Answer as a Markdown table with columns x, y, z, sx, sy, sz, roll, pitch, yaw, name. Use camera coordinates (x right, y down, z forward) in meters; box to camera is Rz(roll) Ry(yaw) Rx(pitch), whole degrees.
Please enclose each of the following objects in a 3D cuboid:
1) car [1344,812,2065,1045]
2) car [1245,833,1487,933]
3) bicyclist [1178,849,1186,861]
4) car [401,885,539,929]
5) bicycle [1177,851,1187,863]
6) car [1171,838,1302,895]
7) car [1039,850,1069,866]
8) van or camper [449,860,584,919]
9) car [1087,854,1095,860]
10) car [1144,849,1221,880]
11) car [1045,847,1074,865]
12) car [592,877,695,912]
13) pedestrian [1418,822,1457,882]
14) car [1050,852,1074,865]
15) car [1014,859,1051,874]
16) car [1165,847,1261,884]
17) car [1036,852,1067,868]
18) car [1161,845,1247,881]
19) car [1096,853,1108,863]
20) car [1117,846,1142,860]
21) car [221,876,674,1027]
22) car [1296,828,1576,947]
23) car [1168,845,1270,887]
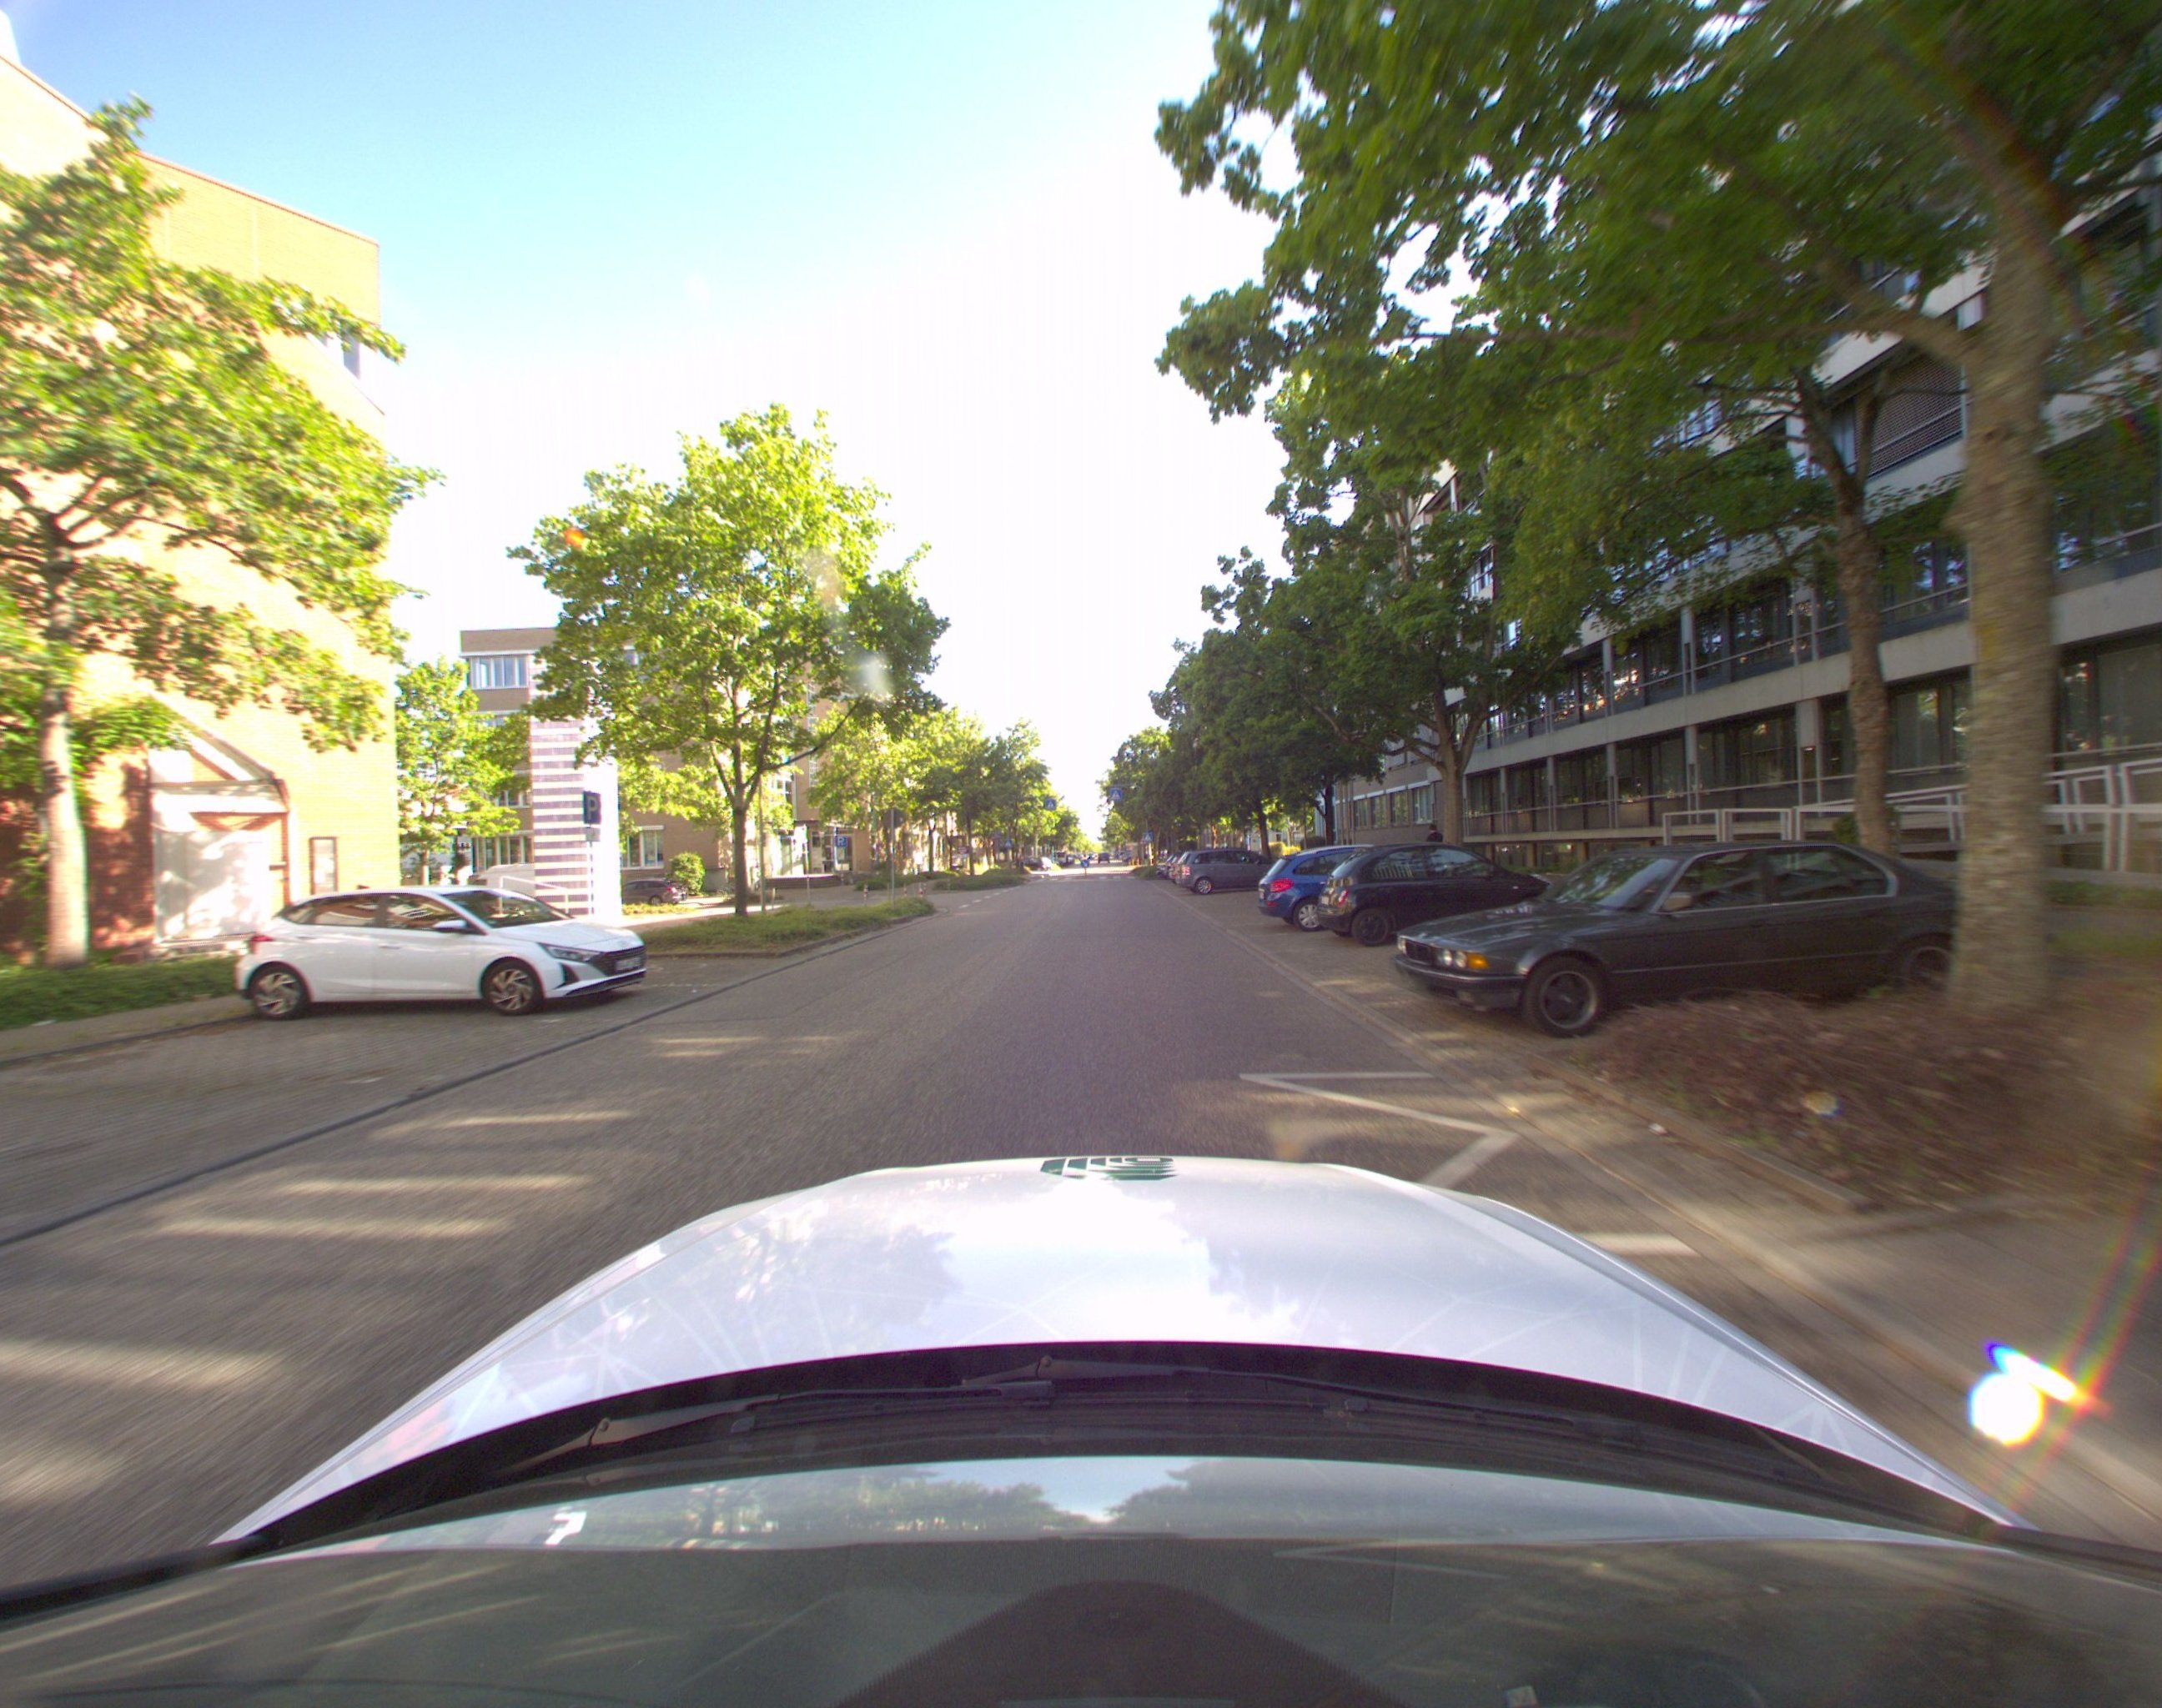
| x | y | z | sx | sy | sz | roll | pitch | yaw | name |
| --- | --- | --- | --- | --- | --- | --- | --- | --- | --- |
| 5.095 | 0.564 | 7.222 | 4.810 | 1.420 | 2.031 | -4 | 0 | -1 | car |
| 5.307 | 0.523 | 15.577 | 3.933 | 1.514 | 1.814 | -4 | 0 | 2 | car |
| 10.123 | 0.097 | 81.556 | 0.693 | 1.214 | 0.948 | -3 | 0 | 12 | bicyclist |
| -25.156 | 2.189 | 33.629 | 4.176 | 1.477 | 2.000 | -4 | -3 | 1 | car |
| 10.130 | 0.282 | 81.560 | 0.679 | 1.214 | 1.983 | -3 | 0 | 12 | bicycle |
| 5.606 | 0.447 | 29.734 | 4.339 | 1.704 | 1.811 | -4 | 0 | -2 | car |
| -3.800 | 0.591 | 114.978 | 3.967 | 2.013 | 2.003 | -3 | 0 | 5 | car |
| -29.414 | 1.824 | 42.575 | 5.350 | 2.674 | 2.181 | -3 | 1 | 0 | van or camper |
| 2.587 | 0.703 | 201.526 | 1.806 | 1.525 | 4.002 | -3 | 0 | 2 | car |
| 5.958 | 0.623 | 48.080 | 4.179 | 1.473 | 1.811 | -4 | 0 | -2 | car |
| -3.100 | 0.284 | 120.041 | 3.967 | 2.541 | 1.866 | -2 | 0 | 6 | car |
| -22.711 | 2.092 | 42.415 | 4.176 | 1.477 | 2.001 | -3 | 1 | 1 | car |
| 10.900 | -0.064 | 24.934 | 0.605 | 1.745 | 1.191 | -3 | 0 | 1 | pedestrian |
| -3.244 | 0.707 | 139.446 | 3.975 | 2.013 | 1.999 | -3 | 0 | -1 | car |
| -5.004 | 1.254 | 84.632 | 3.840 | 1.473 | 1.811 | -1 | 0 | -3 | car |
| 6.220 | 0.534 | 38.722 | 4.179 | 1.448 | 1.811 | -4 | 0 | -2 | car |
| -4.055 | 0.801 | 111.954 | 3.967 | 2.013 | 2.003 | -3 | 0 | 5 | car |
| 6.498 | 0.467 | 43.319 | 4.179 | 1.536 | 1.811 | -4 | 0 | -2 | car |
| 3.651 | 0.688 | 138.931 | 1.986 | 1.640 | 4.001 | -1 | 0 | 1 | car |
| 7.916 | -0.181 | 133.911 | 3.975 | 2.013 | 1.999 | -3 | 0 | -1 | car |
| -7.359 | 1.088 | 9.783 | 3.974 | 1.486 | 1.807 | -2 | 0 | 0 | car |
| 5.523 | 0.503 | 13.050 | 3.628 | 1.514 | 1.813 | -4 | 0 | 1 | car |
| 6.173 | 0.531 | 36.707 | 4.179 | 1.536 | 1.811 | -4 | 0 | -2 | car |
